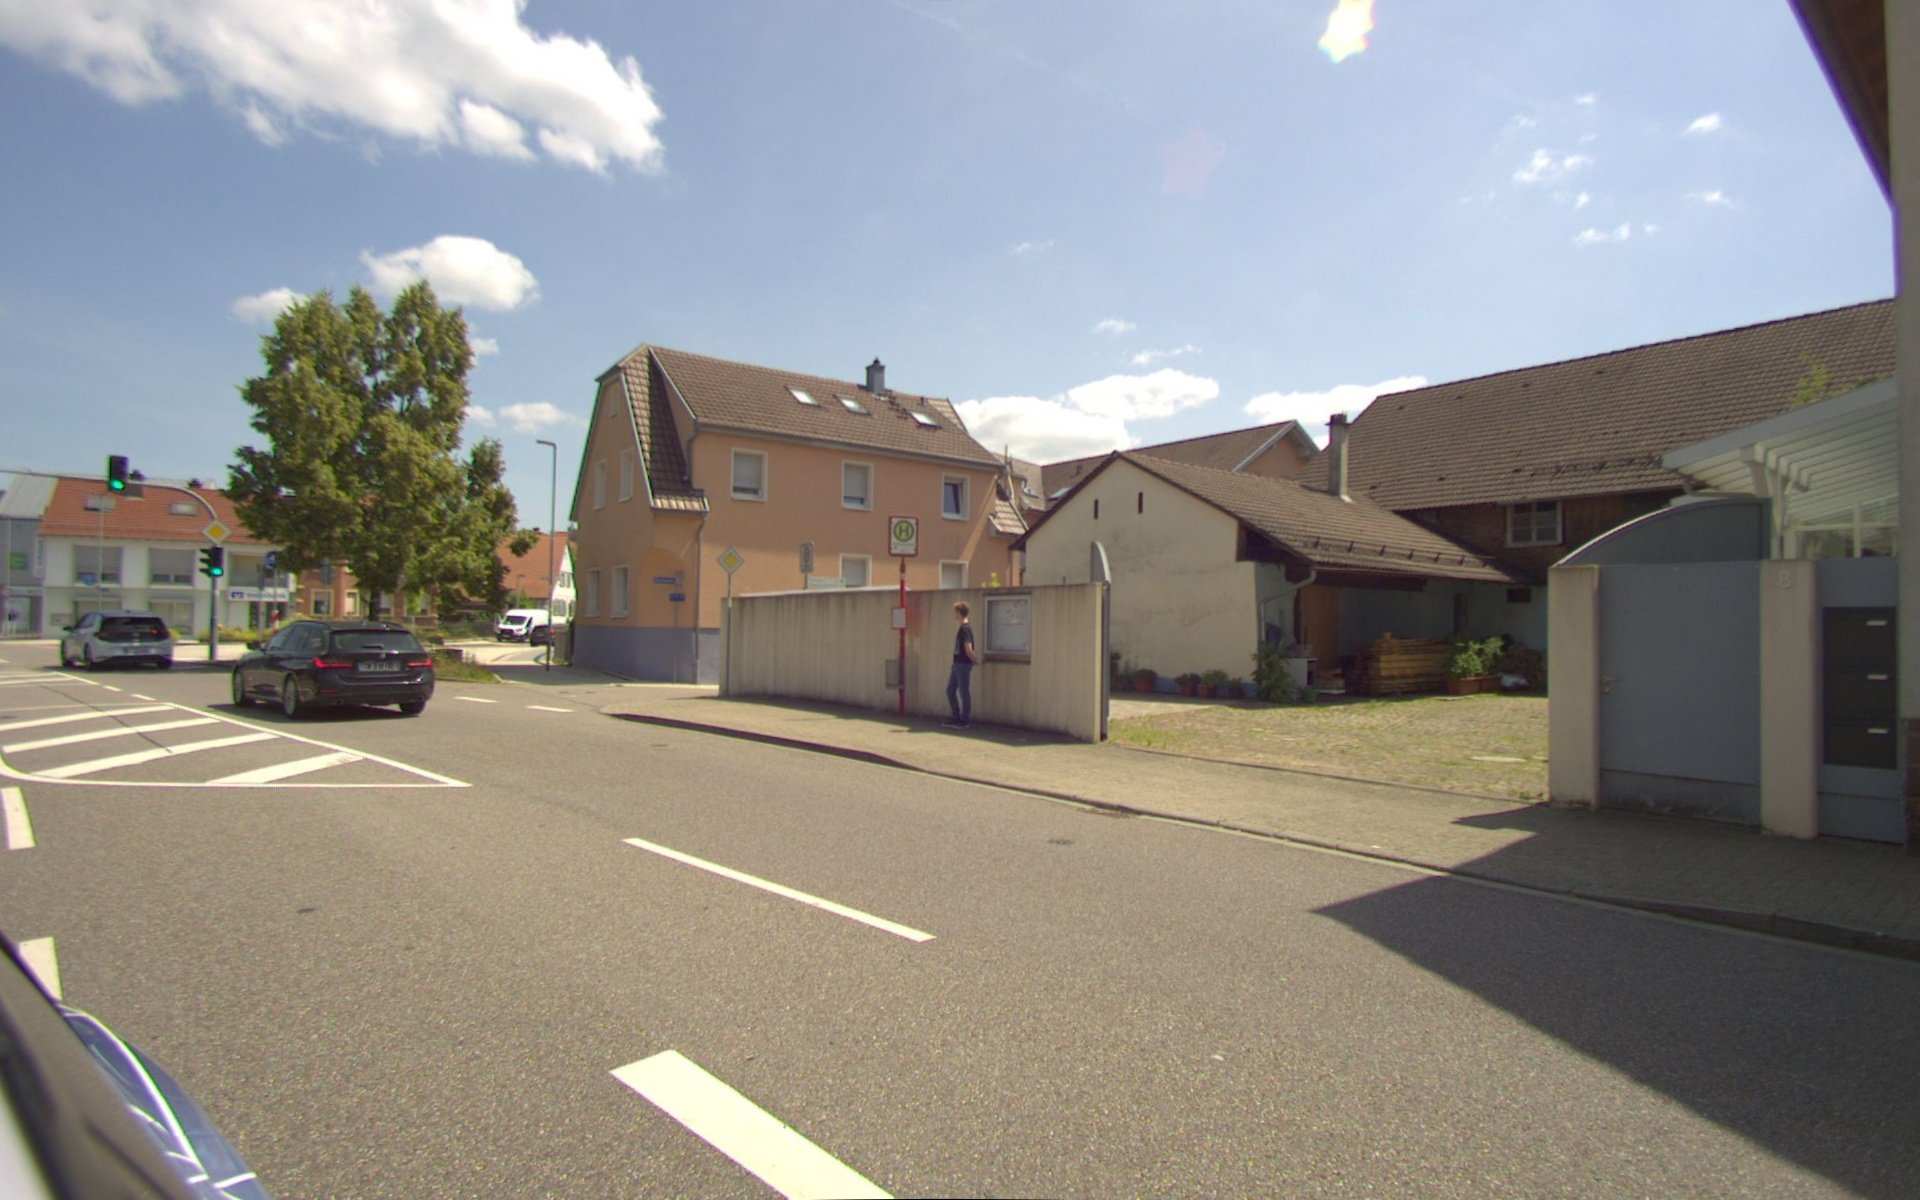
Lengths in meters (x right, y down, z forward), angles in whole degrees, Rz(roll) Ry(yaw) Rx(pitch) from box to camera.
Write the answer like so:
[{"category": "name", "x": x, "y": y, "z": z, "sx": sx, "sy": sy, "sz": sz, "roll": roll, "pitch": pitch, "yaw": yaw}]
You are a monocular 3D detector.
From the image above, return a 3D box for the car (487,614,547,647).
[{"category": "car", "x": -33.146, "y": 2.304, "z": 75.829, "sx": 2.143, "sy": 2.363, "sz": 5.110, "roll": 2, "pitch": -2, "yaw": 1}]

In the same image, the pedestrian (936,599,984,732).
[{"category": "pedestrian", "x": 0.001, "y": 0.890, "z": 13.881, "sx": 0.428, "sy": 1.778, "sz": 0.558, "roll": 2, "pitch": -2, "yaw": -29}]

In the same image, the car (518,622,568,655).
[{"category": "car", "x": -26.261, "y": 2.411, "z": 63.904, "sx": 1.968, "sy": 2.029, "sz": 4.007, "roll": 1, "pitch": -2, "yaw": -8}]

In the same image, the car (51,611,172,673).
[{"category": "car", "x": -22.706, "y": 1.089, "z": 27.023, "sx": 4.131, "sy": 1.519, "sz": 1.777, "roll": 0, "pitch": -3, "yaw": 41}]

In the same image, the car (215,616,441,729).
[{"category": "car", "x": -10.060, "y": 1.048, "z": 15.983, "sx": 4.419, "sy": 1.504, "sz": 1.775, "roll": 0, "pitch": -3, "yaw": 41}]
